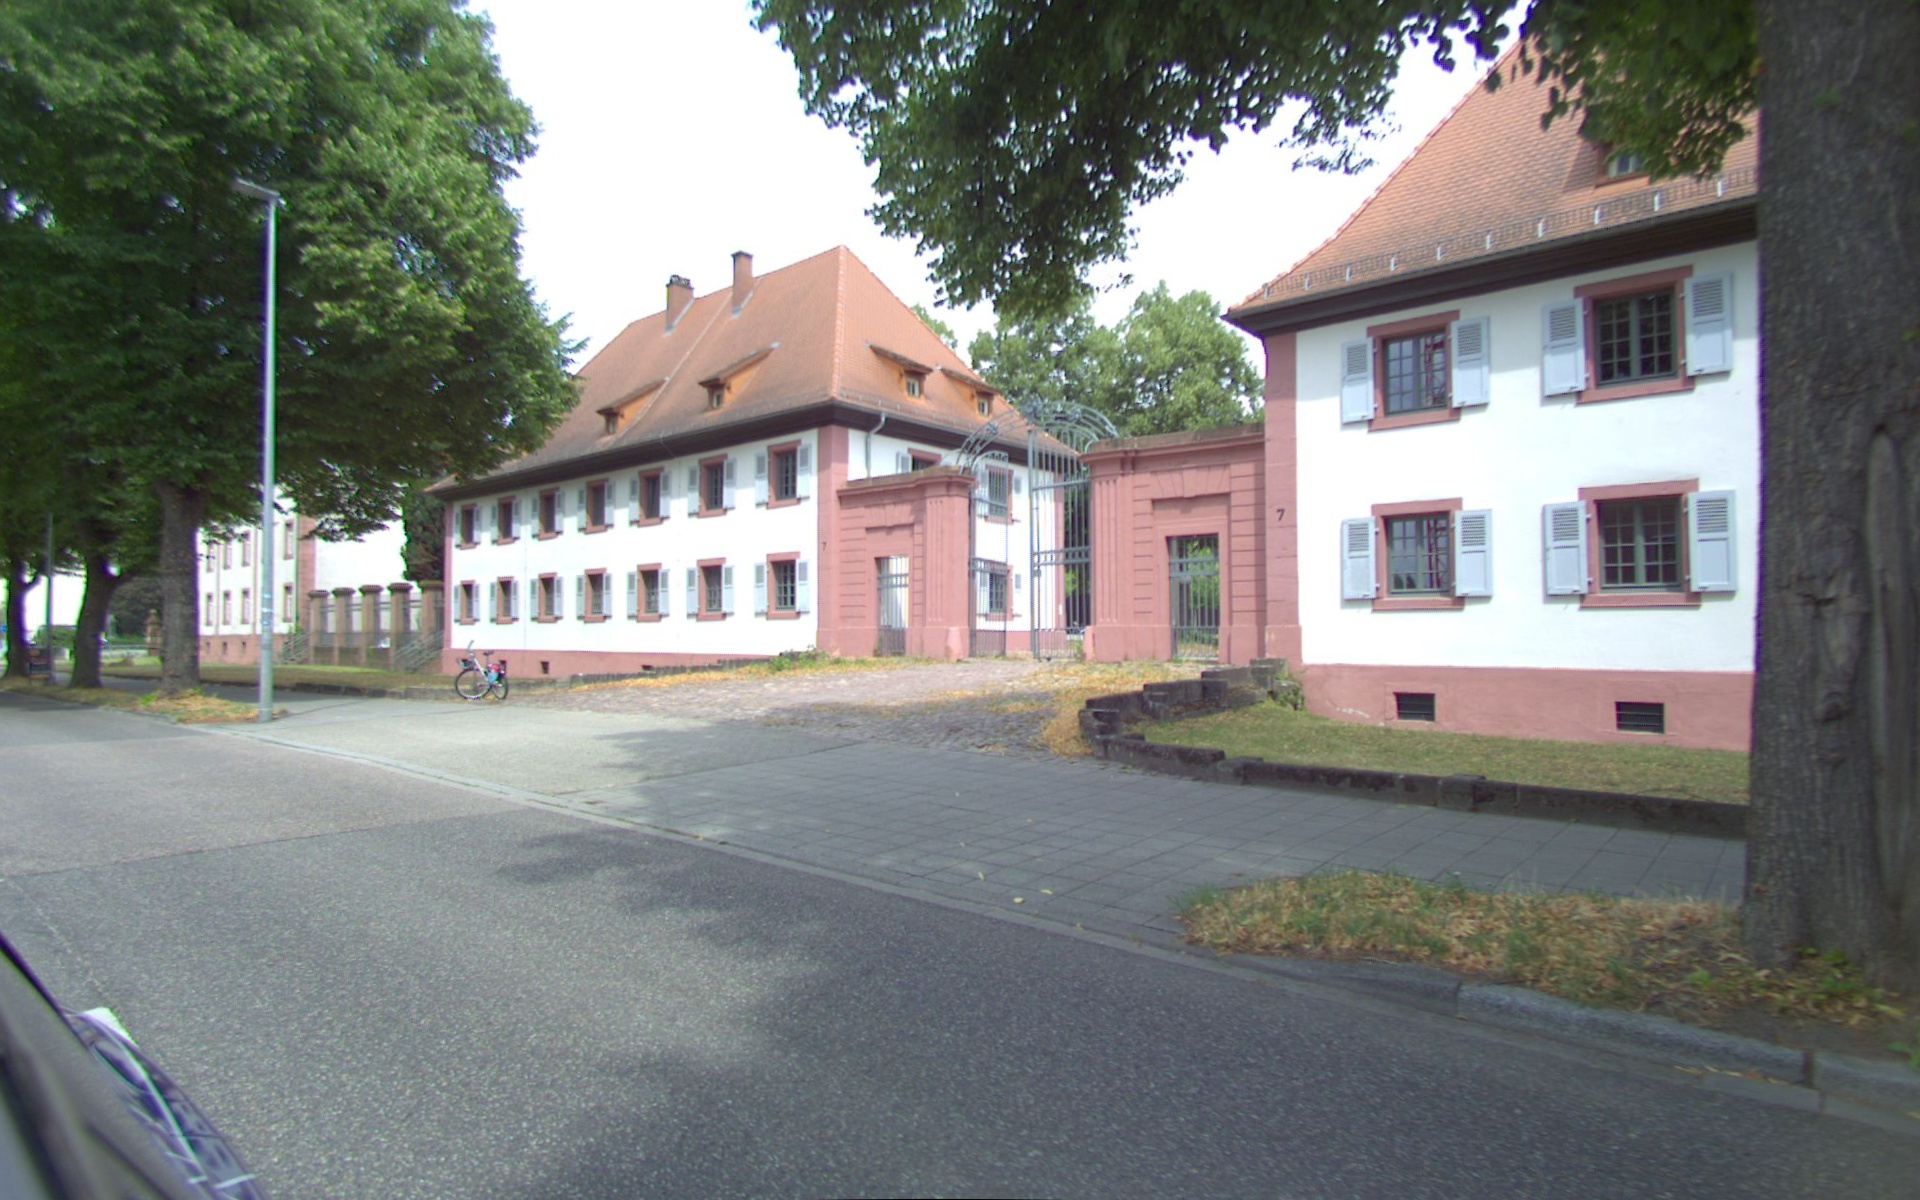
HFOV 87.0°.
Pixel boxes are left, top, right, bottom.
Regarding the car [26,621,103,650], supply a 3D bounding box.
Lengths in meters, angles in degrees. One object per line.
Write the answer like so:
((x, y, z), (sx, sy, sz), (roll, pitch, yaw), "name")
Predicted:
((-85.176, 3.380, 96.336), (2.354, 2.571, 5.255), (-2, -1, 41), "car")

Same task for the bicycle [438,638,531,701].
((-9.178, 1.308, 19.489), (2.223, 1.103, 0.715), (-2, 1, 40), "bicycle")
